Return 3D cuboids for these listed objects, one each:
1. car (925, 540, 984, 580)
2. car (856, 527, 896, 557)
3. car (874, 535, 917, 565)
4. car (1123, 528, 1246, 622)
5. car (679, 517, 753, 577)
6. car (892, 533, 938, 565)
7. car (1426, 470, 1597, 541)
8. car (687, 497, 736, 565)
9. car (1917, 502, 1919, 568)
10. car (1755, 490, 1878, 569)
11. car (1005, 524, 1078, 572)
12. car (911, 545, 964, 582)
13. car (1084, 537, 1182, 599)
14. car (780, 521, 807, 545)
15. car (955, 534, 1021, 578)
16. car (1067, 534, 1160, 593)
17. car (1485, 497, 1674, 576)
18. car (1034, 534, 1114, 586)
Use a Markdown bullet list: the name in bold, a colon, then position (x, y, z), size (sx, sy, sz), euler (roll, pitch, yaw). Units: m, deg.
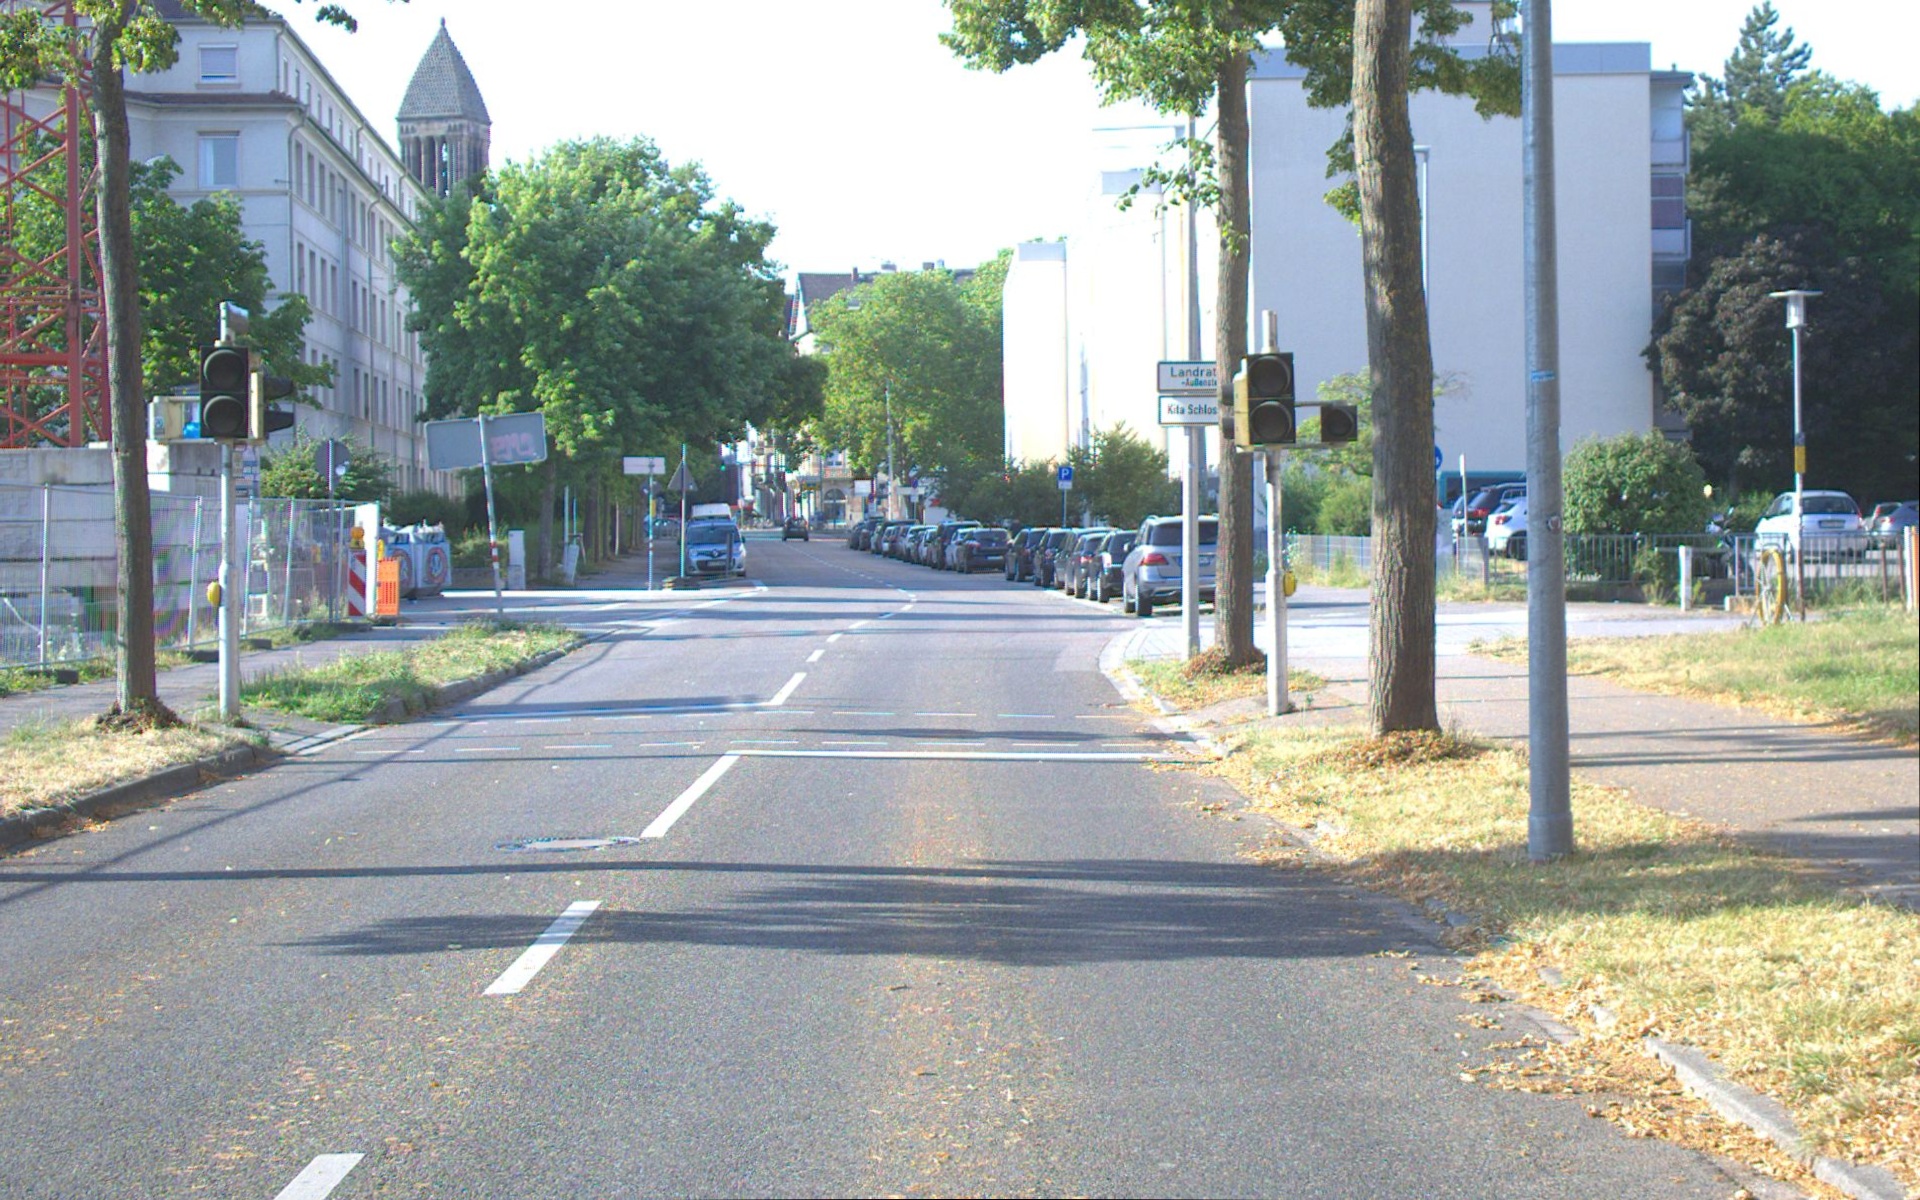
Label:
- **car**: position (-0.223, -1.446, 124.097), size (1.841, 1.381, 4.001), euler (-2, 1, -4)
- **car**: position (-4.557, -3.135, 186.540), size (1.841, 1.381, 4.001), euler (-7, 1, -4)
- **car**: position (-3.080, -2.371, 163.548), size (1.841, 1.381, 4.001), euler (-2, 1, -4)
- **car**: position (3.955, -0.461, 61.136), size (1.841, 1.568, 4.000), euler (-1, 1, -1)
- **car**: position (-7.157, -1.531, 100.511), size (1.993, 1.682, 4.001), euler (-1, 1, -6)
- **car**: position (-2.057, -2.327, 157.055), size (1.841, 1.381, 4.001), euler (-2, 1, -4)
- **car**: position (13.766, -2.346, 85.912), size (3.987, 1.722, 1.773), euler (1, 1, 1)
- **car**: position (-11.976, -3.319, 165.580), size (2.185, 3.120, 4.986), euler (-3, 1, -4)
- **car**: position (27.141, -1.666, 89.436), size (3.987, 1.722, 1.773), euler (1, 1, 1)
- **car**: position (18.126, -1.475, 72.893), size (1.812, 1.554, 3.625), euler (1, 0, 2)
- **car**: position (2.235, -1.432, 94.971), size (1.841, 1.256, 4.000), euler (-1, 1, -1)
- **car**: position (-0.911, -1.447, 136.279), size (1.841, 1.381, 4.001), euler (-2, 1, -4)
- **car**: position (3.616, -0.689, 72.492), size (1.779, 1.223, 4.000), euler (-1, 1, -1)
- **car**: position (-11.209, -4.493, 230.904), size (1.714, 1.481, 4.001), euler (-2, 1, -4)
- **car**: position (0.906, -1.459, 113.304), size (1.841, 1.381, 4.001), euler (-2, 1, -4)
- **car**: position (3.462, -0.837, 77.970), size (1.841, 1.256, 4.000), euler (-1, 1, -1)
- **car**: position (13.830, -1.412, 76.901), size (3.988, 1.678, 2.000), euler (1, 0, 5)
- **car**: position (2.911, -1.039, 88.225), size (1.841, 1.256, 4.000), euler (-1, 1, -1)
